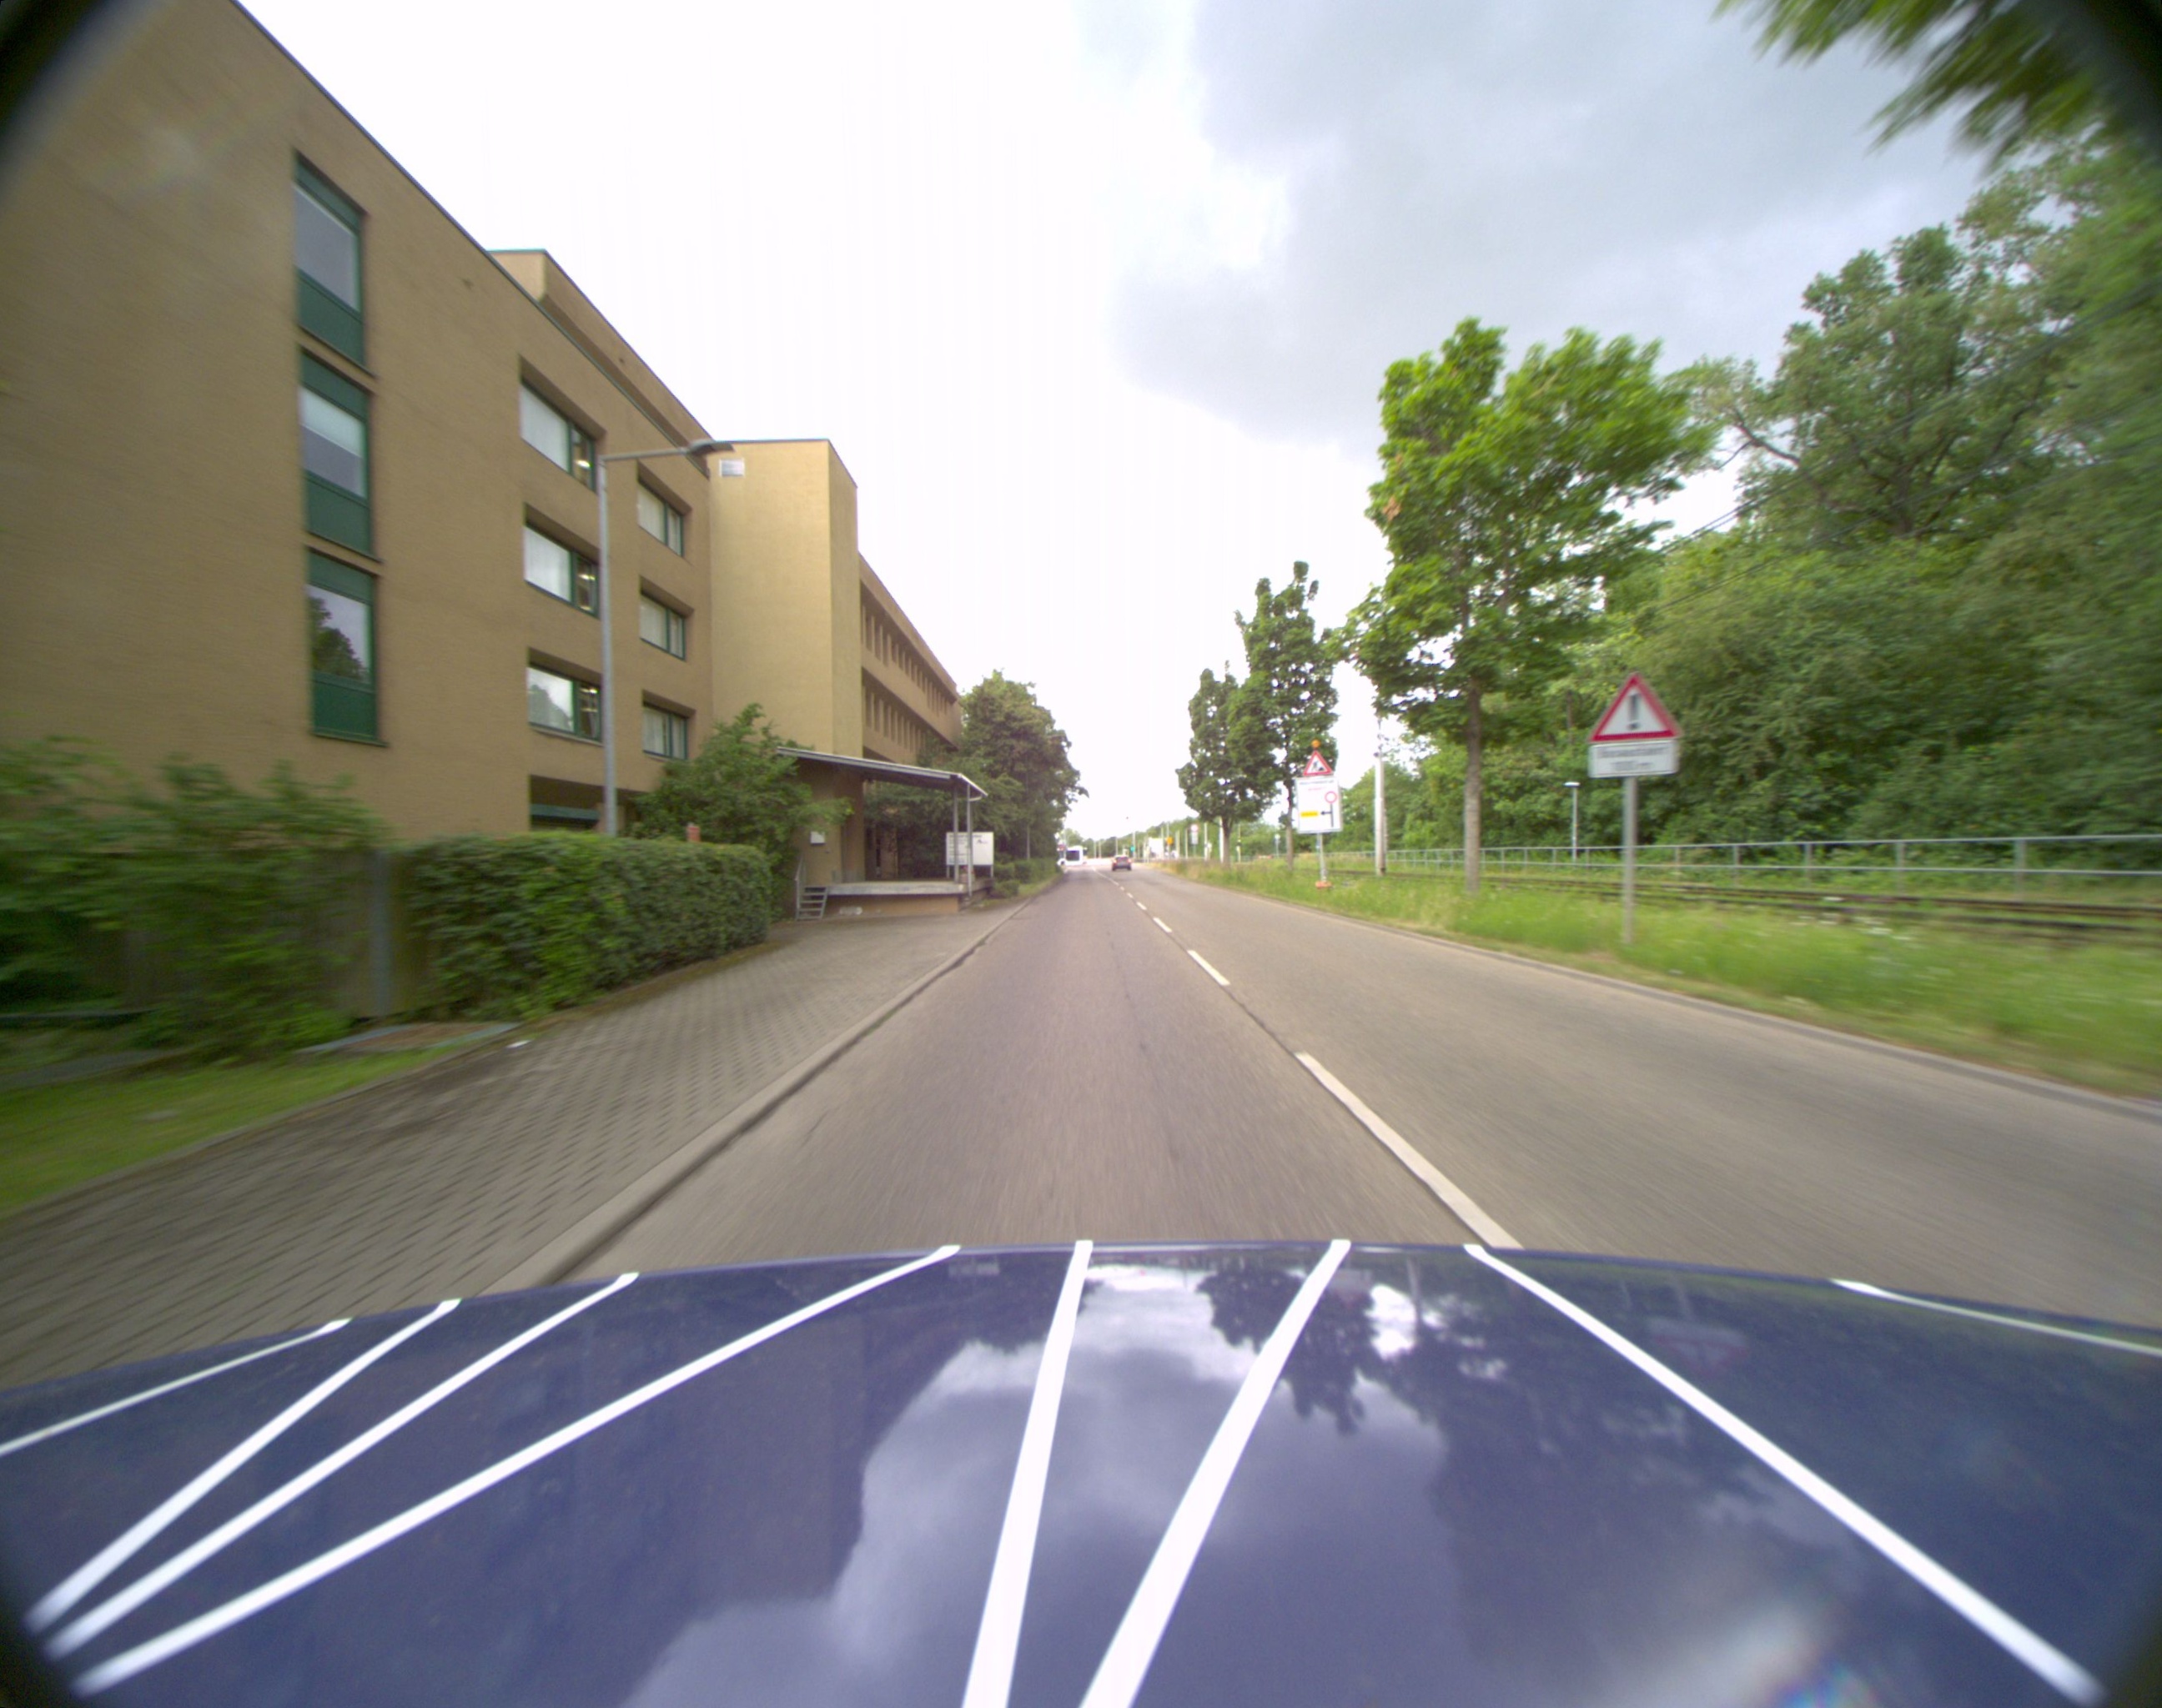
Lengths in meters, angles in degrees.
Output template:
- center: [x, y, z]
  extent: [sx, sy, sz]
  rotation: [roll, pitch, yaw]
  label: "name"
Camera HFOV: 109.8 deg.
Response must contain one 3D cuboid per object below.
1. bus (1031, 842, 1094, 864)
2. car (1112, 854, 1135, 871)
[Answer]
- center: [-3.100, -0.162, 124.633]
  extent: [9.855, 3.049, 3.174]
  rotation: [-2, 0, 27]
  label: "bus"
- center: [4.098, 0.810, 73.540]
  extent: [2.038, 1.508, 3.654]
  rotation: [-2, 0, 1]
  label: "car"
